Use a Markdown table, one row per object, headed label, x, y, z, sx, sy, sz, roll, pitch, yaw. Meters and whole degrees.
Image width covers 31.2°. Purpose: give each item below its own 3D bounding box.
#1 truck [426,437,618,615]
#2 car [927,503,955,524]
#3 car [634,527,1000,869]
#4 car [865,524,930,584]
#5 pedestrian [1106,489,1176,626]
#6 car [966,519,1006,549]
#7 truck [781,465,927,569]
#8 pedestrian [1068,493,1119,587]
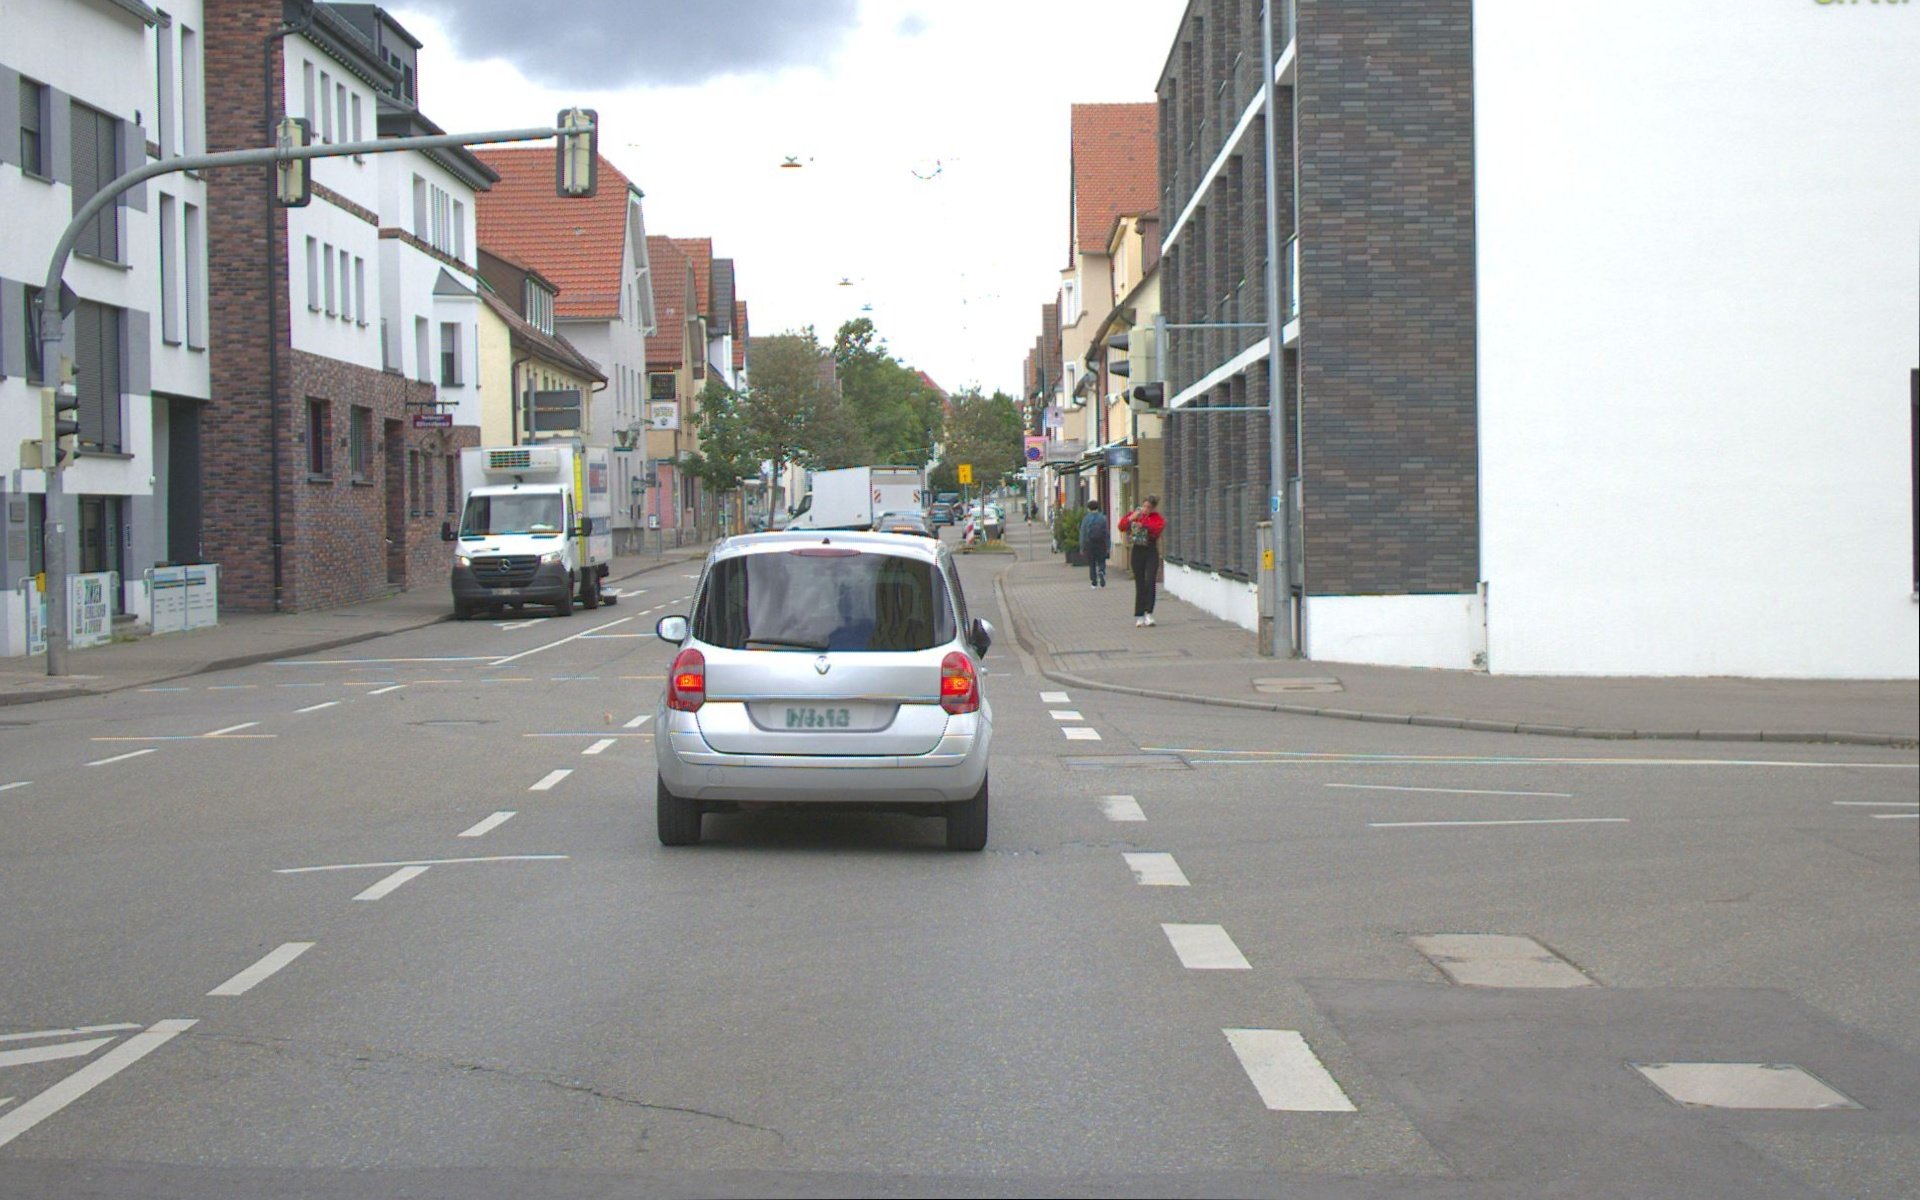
| label | x | y | z | sx | sy | sz | roll | pitch | yaw |
| --- | --- | --- | --- | --- | --- | --- | --- | --- | --- |
| truck | -7.673 | -1.332 | 61.168 | 2.435 | 2.943 | 8.365 | 0 | 1 | -1 |
| car | -1.234 | -5.733 | 227.669 | 1.812 | 1.349 | 4.000 | -1 | 1 | 0 |
| car | -0.704 | 0.427 | 18.407 | 1.706 | 1.573 | 4.000 | 2 | 1 | -1 |
| car | -1.716 | -1.287 | 95.414 | 1.706 | 1.573 | 4.000 | 2 | 1 | -1 |
| pedestrian | 2.419 | -0.572 | 46.068 | 0.807 | 1.780 | 0.861 | -3 | 1 | 0 |
| car | 1.199 | -3.101 | 160.424 | 1.812 | 1.349 | 4.000 | -1 | 1 | 0 |
| truck | -4.100 | -3.174 | 131.575 | 2.595 | 3.844 | 6.849 | -1 | 1 | -31 |
| pedestrian | 2.607 | -1.184 | 67.218 | 0.889 | 1.780 | 0.785 | -3 | 1 | 0 |
